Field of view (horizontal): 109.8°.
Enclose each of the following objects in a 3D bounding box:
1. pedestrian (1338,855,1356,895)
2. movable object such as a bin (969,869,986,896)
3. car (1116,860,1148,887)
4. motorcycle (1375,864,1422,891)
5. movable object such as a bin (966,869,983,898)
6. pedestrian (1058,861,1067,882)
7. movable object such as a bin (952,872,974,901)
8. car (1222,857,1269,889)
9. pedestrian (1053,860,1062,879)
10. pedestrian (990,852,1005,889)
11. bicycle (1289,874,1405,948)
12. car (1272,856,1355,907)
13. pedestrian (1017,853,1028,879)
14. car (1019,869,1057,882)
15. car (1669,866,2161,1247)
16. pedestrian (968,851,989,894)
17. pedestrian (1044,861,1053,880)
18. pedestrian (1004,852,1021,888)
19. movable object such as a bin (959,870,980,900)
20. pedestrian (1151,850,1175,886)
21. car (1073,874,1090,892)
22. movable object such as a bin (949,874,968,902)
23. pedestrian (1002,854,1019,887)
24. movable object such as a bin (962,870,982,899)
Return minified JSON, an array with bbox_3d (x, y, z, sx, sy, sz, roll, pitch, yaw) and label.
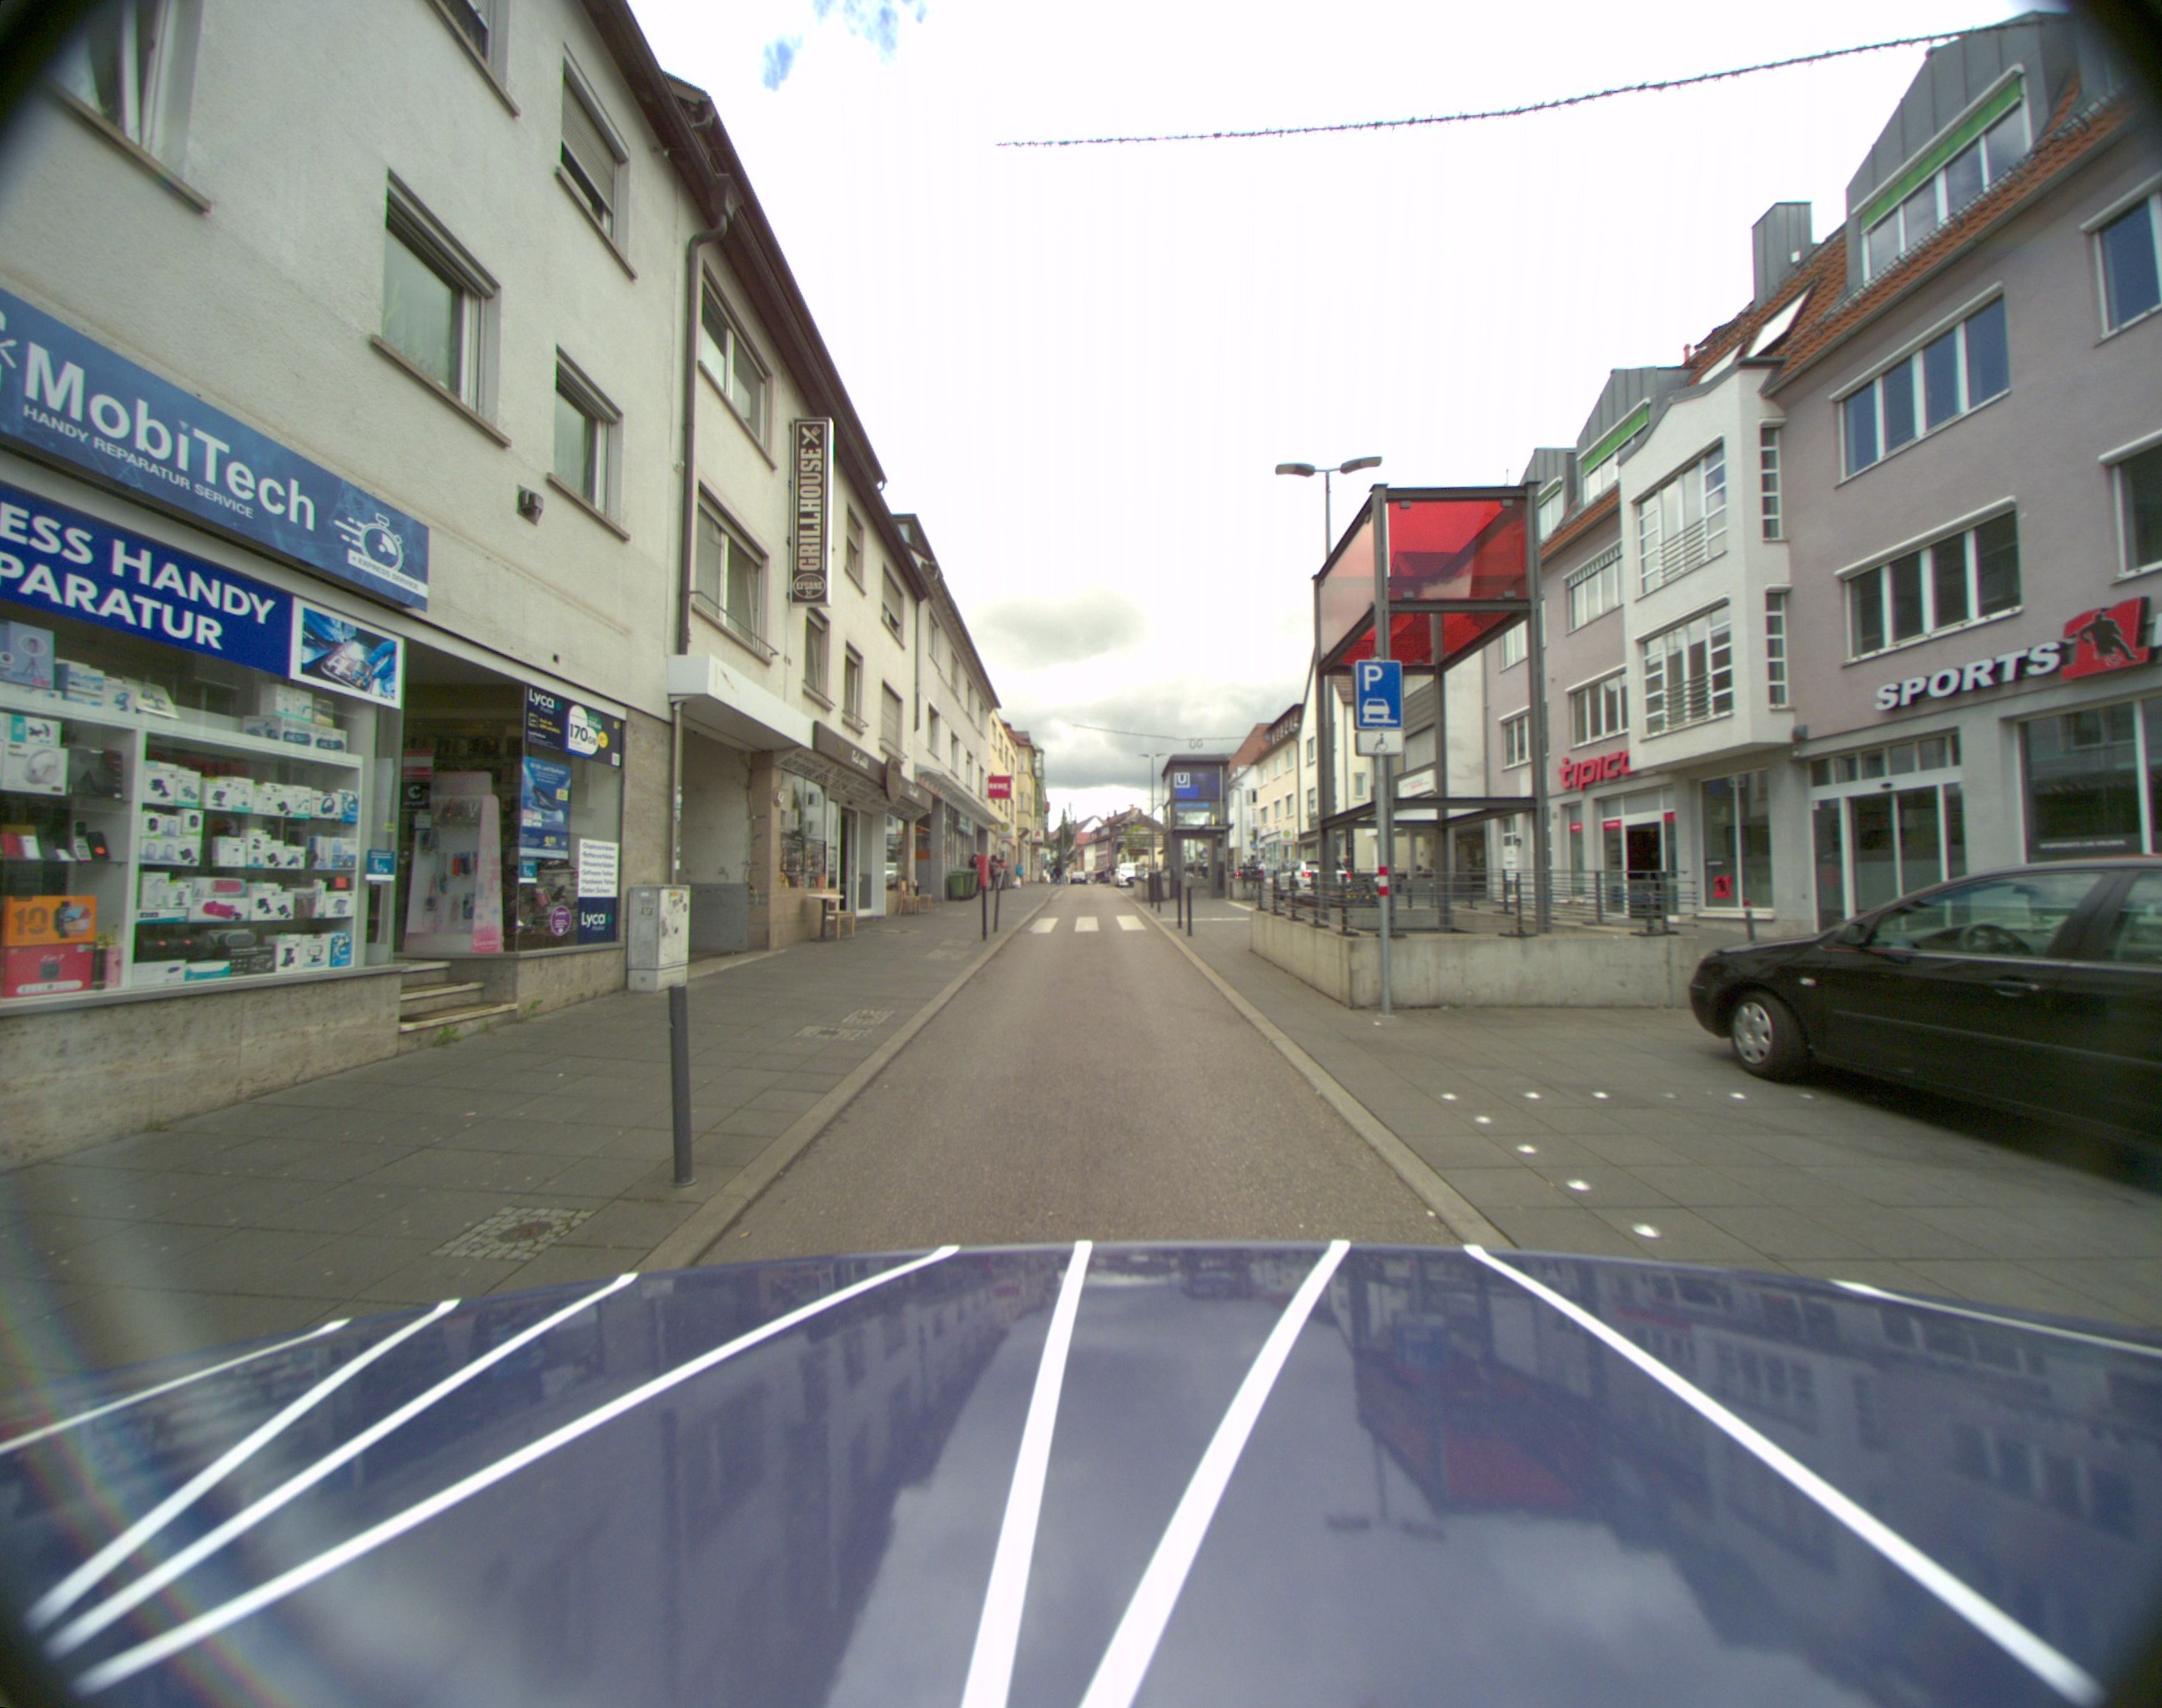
[{"bbox_3d":[11.745,0.924,33.541,0.592,1.706,0.513,-2,1,1],"label":"pedestrian"},{"bbox_3d":[-4.004,1.101,29.354,0.560,1.050,0.559,0,0,1],"label":"movable object such as a bin"},{"bbox_3d":[3.047,1.162,45.878,1.754,1.452,3.601,-2,0,1],"label":"car"},{"bbox_3d":[14.685,1.084,35.175,1.854,1.134,0.634,-2,1,0],"label":"motorcycle"},{"bbox_3d":[-4.023,1.109,28.770,0.569,1.053,0.574,0,0,1],"label":"movable object such as a bin"},{"bbox_3d":[-1.457,1.385,59.783,0.657,1.620,0.743,-2,1,-1],"label":"pedestrian"},{"bbox_3d":[-4.149,1.135,26.729,0.670,1.024,0.560,0,0,1],"label":"movable object such as a bin"},{"bbox_3d":[8.946,1.014,41.637,1.683,1.562,4.122,-2,0,0],"label":"car"},{"bbox_3d":[-2.053,1.361,66.627,0.657,1.620,0.743,-2,1,-6],"label":"pedestrian"},{"bbox_3d":[-3.868,0.759,35.125,0.627,1.716,0.607,2,1,-5],"label":"pedestrian"},{"bbox_3d":[4.461,0.951,12.781,1.782,1.216,0.459,0,1,0],"label":"bicycle"},{"bbox_3d":[8.144,0.905,27.027,1.683,1.562,4.122,-2,0,0],"label":"car"},{"bbox_3d":[-3.781,0.771,48.876,0.627,1.620,0.607,-2,1,-5],"label":"pedestrian"},{"bbox_3d":[-5.482,2.733,97.298,4.627,1.570,1.777,-1,0,-11],"label":"car"},{"bbox_3d":[5.096,0.847,3.572,1.573,1.466,3.855,1,0,-2],"label":"car"},{"bbox_3d":[-4.208,0.744,31.156,0.628,1.716,0.606,-3,1,-22],"label":"pedestrian"},{"bbox_3d":[-2.856,1.442,66.518,0.657,1.620,0.743,-2,1,-6],"label":"pedestrian"},{"bbox_3d":[-3.513,0.840,38.979,0.628,1.811,0.605,-3,1,-34],"label":"pedestrian"},{"bbox_3d":[-4.010,1.120,27.411,0.652,1.074,0.673,0,0,1],"label":"movable object such as a bin"},{"bbox_3d":[4.339,0.733,40.298,1.097,1.831,0.931,-2,1,1],"label":"pedestrian"},{"bbox_3d":[0.054,2.996,78.760,1.741,1.608,3.843,-2,0,0],"label":"car"},{"bbox_3d":[-4.220,1.175,26.142,0.568,0.951,0.498,0,0,1],"label":"movable object such as a bin"},{"bbox_3d":[-3.713,0.863,39.962,0.608,1.716,0.626,-3,1,-29],"label":"pedestrian"},{"bbox_3d":[-4.022,1.118,28.126,0.652,1.074,0.659,0,0,1],"label":"movable object such as a bin"}]
